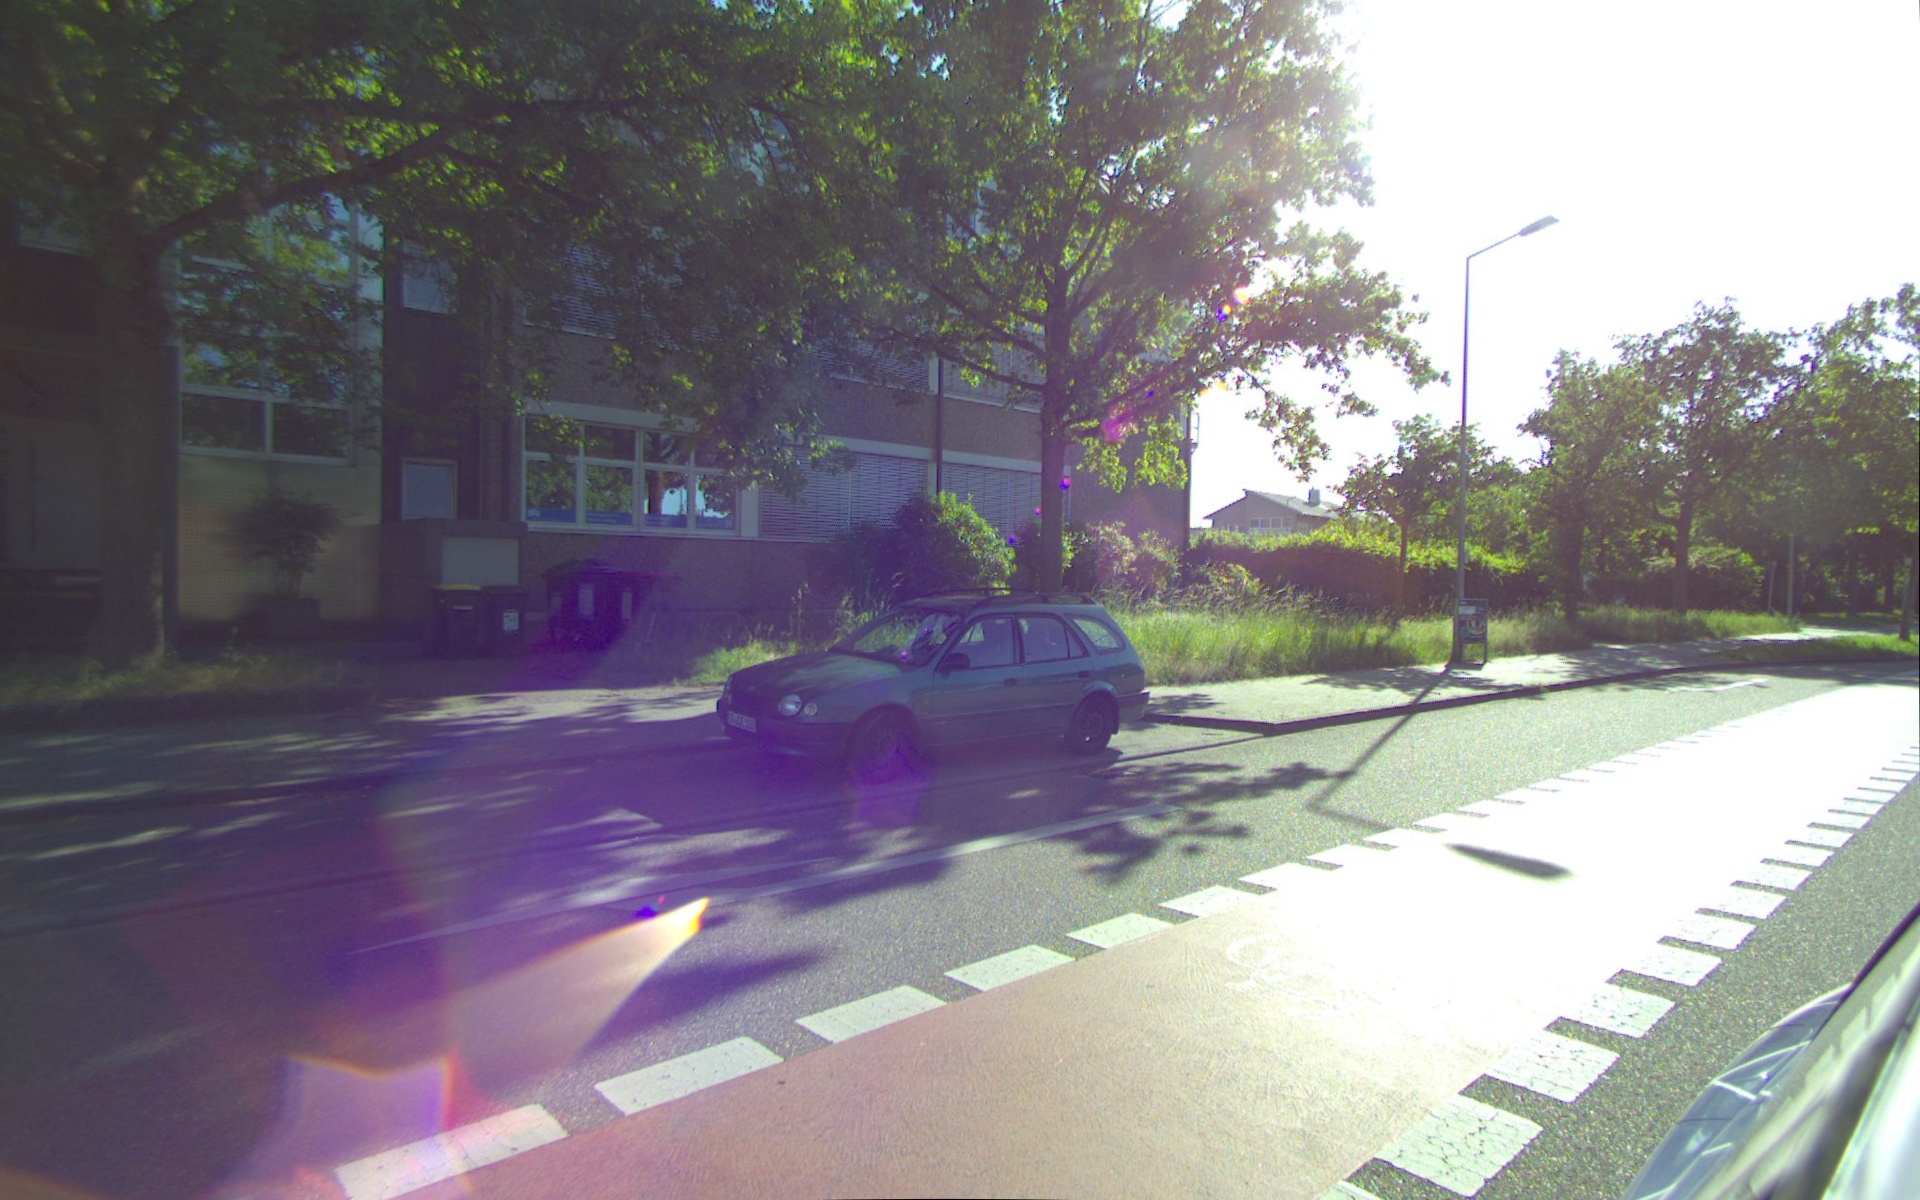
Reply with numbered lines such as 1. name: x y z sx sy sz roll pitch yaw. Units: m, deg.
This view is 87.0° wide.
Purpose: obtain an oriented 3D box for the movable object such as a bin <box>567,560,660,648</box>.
1. movable object such as a bin: -5.778 0.041 16.859 1.070 1.388 1.186 0 2 -43

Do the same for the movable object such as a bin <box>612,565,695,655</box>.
1. movable object such as a bin: -4.788 0.123 15.771 0.878 1.323 1.186 0 2 -37

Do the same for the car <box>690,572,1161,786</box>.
1. car: -0.153 0.573 9.130 4.068 1.487 1.705 1 1 -41

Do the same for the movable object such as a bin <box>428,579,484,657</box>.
1. movable object such as a bin: -7.222 0.243 14.495 0.575 1.070 0.625 0 1 -42

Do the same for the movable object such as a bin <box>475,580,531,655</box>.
1. movable object such as a bin: -6.766 0.238 14.976 0.604 1.075 0.634 0 1 -42

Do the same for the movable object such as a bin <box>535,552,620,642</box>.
1. movable object such as a bin: -6.788 -0.076 17.939 1.024 1.501 1.309 0 2 -41
